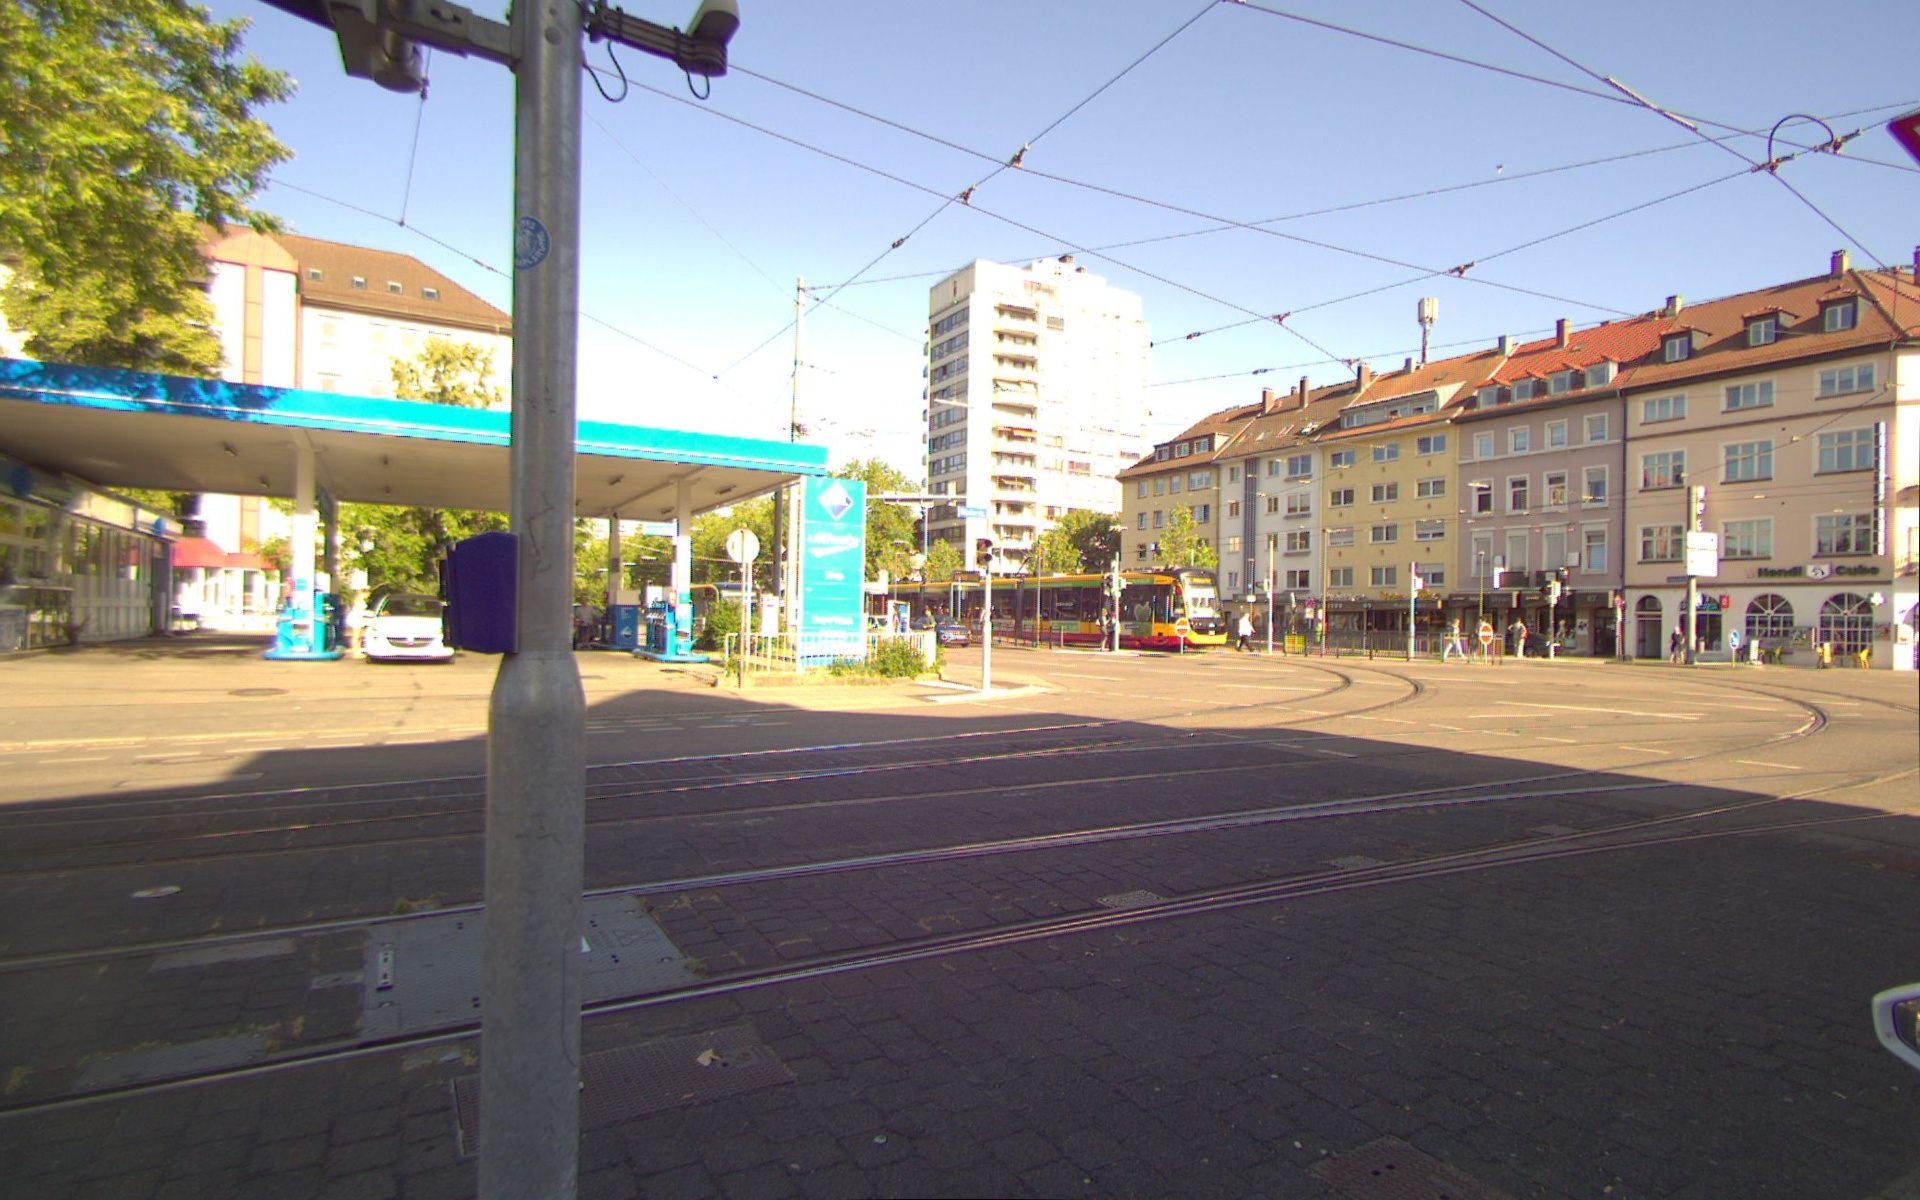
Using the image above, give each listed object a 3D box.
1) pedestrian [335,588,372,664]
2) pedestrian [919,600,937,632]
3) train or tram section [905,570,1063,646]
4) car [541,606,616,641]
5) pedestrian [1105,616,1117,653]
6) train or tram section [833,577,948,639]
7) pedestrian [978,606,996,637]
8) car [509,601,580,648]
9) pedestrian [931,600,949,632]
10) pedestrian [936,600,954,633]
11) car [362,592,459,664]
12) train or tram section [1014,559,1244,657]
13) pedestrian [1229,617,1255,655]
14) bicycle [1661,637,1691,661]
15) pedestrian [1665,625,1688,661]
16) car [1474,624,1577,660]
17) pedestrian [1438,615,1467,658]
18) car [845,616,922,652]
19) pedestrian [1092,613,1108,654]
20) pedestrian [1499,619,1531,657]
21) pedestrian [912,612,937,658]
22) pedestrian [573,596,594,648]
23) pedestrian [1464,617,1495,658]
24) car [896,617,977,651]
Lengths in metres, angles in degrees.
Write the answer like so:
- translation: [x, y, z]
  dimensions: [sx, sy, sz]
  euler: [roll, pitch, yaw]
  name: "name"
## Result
- translation: [-13.894, 0.591, 23.027]
  dimensions: [0.640, 1.724, 0.497]
  euler: [1, -1, -26]
  name: "pedestrian"
- translation: [-1.766, 0.871, 56.110]
  dimensions: [0.747, 1.756, 0.797]
  euler: [0, 0, -28]
  name: "pedestrian"
- translation: [0.981, 0.479, 57.115]
  dimensions: [2.906, 3.864, 12.722]
  euler: [1, -1, -29]
  name: "train or tram section"
- translation: [-16.867, 1.041, 44.600]
  dimensions: [1.722, 1.461, 3.572]
  euler: [1, -1, 5]
  name: "car"
- translation: [6.147, 1.405, 40.964]
  dimensions: [0.472, 1.525, 0.462]
  euler: [0, 0, 6]
  name: "pedestrian"
- translation: [-4.980, 0.565, 67.913]
  dimensions: [2.906, 3.864, 12.028]
  euler: [1, -1, -29]
  name: "train or tram section"
- translation: [1.386, 1.086, 51.088]
  dimensions: [0.607, 1.598, 0.827]
  euler: [0, 0, -27]
  name: "pedestrian"
- translation: [-13.554, 0.783, 32.675]
  dimensions: [1.737, 1.461, 3.543]
  euler: [1, -1, -29]
  name: "car"
- translation: [-1.131, 0.891, 56.335]
  dimensions: [0.747, 1.756, 0.797]
  euler: [0, 0, -28]
  name: "pedestrian"
- translation: [-0.814, 0.891, 54.362]
  dimensions: [0.747, 1.756, 0.797]
  euler: [0, 0, -28]
  name: "pedestrian"
- translation: [-12.203, 0.604, 22.348]
  dimensions: [1.737, 1.461, 3.543]
  euler: [1, -1, -29]
  name: "car"
- translation: [7.160, 0.387, 45.888]
  dimensions: [2.906, 3.864, 12.953]
  euler: [1, -1, -29]
  name: "train or tram section"
- translation: [12.145, 1.556, 43.254]
  dimensions: [0.867, 1.598, 0.665]
  euler: [2, 0, -2]
  name: "pedestrian"
- translation: [34.237, 2.342, 48.025]
  dimensions: [1.479, 1.091, 0.570]
  euler: [2, 0, -30]
  name: "bicycle"
- translation: [34.268, 2.047, 48.040]
  dimensions: [0.743, 1.692, 0.579]
  euler: [2, 0, -30]
  name: "pedestrian"
- translation: [30.819, 2.291, 54.843]
  dimensions: [2.277, 1.734, 4.350]
  euler: [2, 0, -27]
  name: "car"
- translation: [19.071, 1.408, 38.892]
  dimensions: [0.817, 1.598, 0.552]
  euler: [2, 0, -2]
  name: "pedestrian"
- translation: [-3.594, 1.552, 46.735]
  dimensions: [1.871, 1.550, 3.963]
  euler: [1, -1, -33]
  name: "car"
- translation: [5.849, 1.392, 41.964]
  dimensions: [0.626, 1.666, 0.462]
  euler: [0, 0, 6]
  name: "pedestrian"
- translation: [24.380, 1.667, 44.117]
  dimensions: [0.821, 1.598, 0.847]
  euler: [2, 0, -20]
  name: "pedestrian"
- translation: [-1.312, 1.283, 37.062]
  dimensions: [0.752, 1.702, 0.555]
  euler: [1, -1, -33]
  name: "pedestrian"
- translation: [-12.639, 0.749, 33.722]
  dimensions: [0.493, 1.724, 0.497]
  euler: [0, -1, 43]
  name: "pedestrian"
- translation: [21.011, 1.509, 40.658]
  dimensions: [0.821, 1.598, 0.724]
  euler: [2, 0, -20]
  name: "pedestrian"
- translation: [-1.167, 1.616, 48.365]
  dimensions: [1.875, 1.550, 3.955]
  euler: [1, -2, -39]
  name: "car"
